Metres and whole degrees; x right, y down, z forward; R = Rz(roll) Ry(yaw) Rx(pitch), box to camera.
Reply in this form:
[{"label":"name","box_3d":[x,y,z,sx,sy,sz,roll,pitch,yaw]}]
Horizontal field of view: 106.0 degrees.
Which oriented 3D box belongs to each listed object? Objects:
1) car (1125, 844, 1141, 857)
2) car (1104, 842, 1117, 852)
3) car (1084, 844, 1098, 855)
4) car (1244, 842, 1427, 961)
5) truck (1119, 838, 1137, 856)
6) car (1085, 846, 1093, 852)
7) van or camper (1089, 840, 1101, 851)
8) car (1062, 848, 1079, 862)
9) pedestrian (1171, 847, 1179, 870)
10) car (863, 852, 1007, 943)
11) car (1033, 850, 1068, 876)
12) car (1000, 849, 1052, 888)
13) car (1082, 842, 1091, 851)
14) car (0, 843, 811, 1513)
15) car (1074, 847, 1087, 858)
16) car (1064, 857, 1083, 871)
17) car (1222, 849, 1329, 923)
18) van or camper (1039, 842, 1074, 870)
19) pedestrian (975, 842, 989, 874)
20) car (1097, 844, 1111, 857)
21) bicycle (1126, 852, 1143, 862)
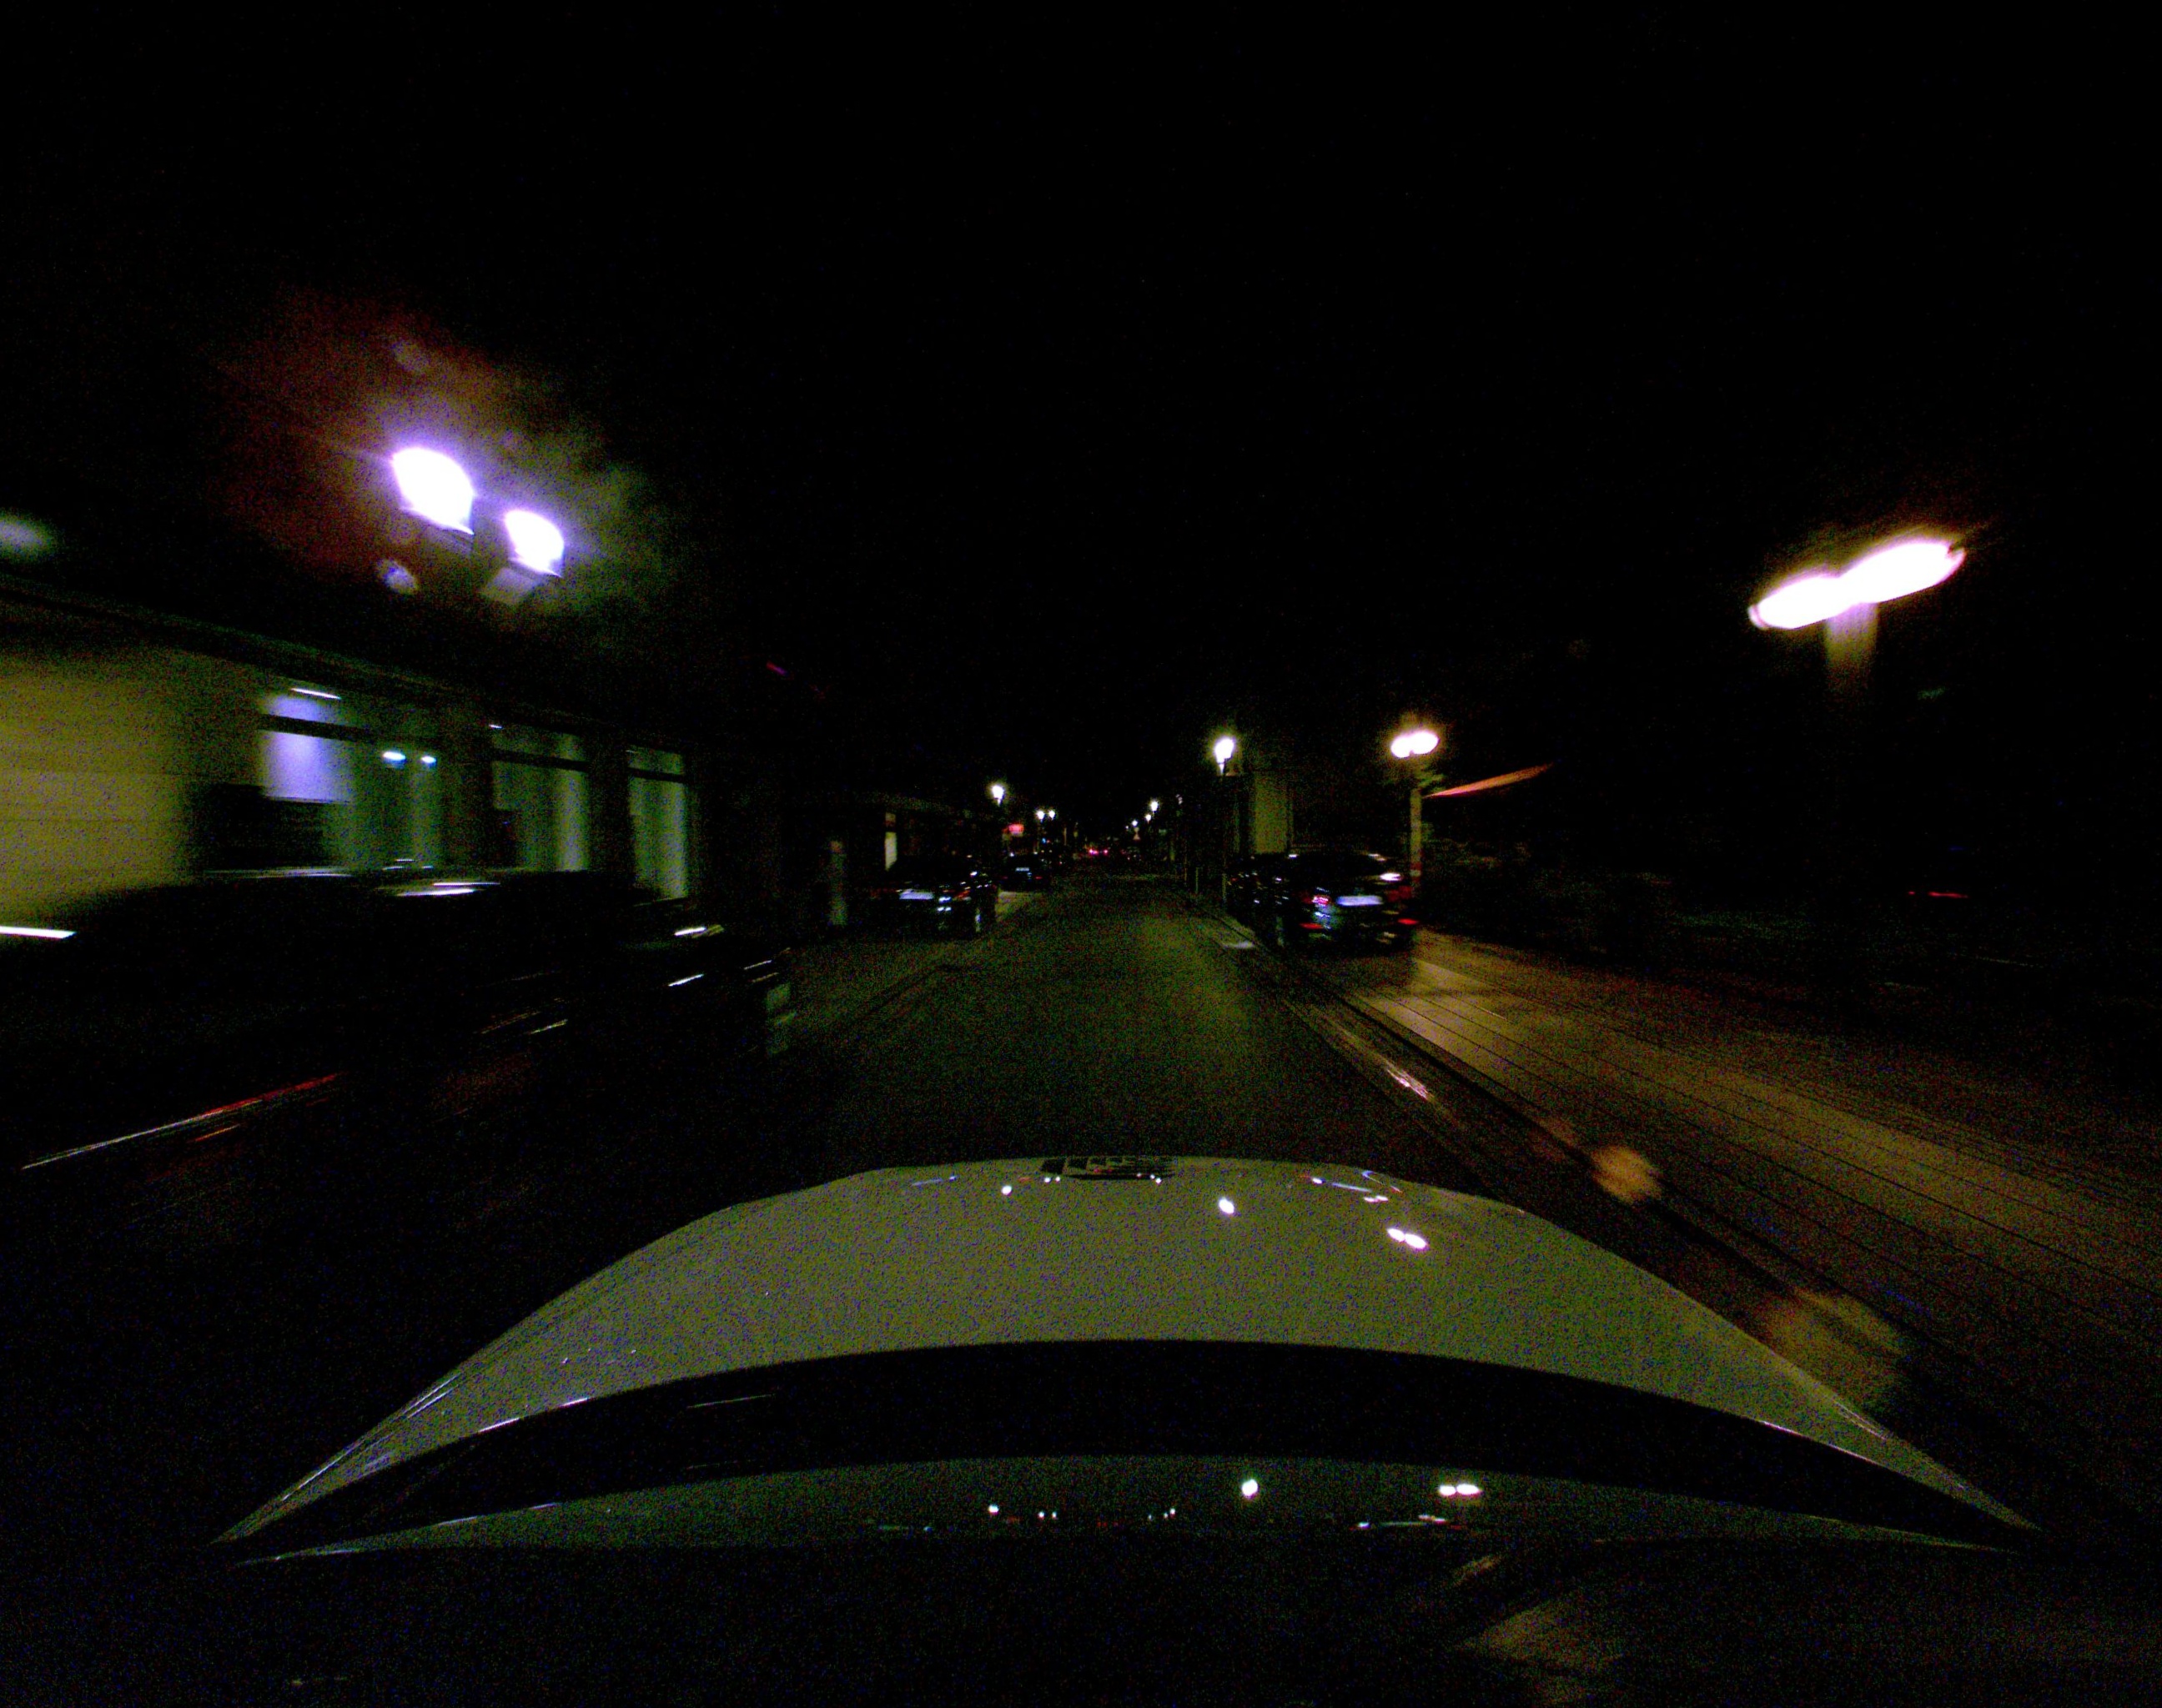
[{"label":"car","box_3d":[6.388,-0.452,100.035,1.782,1.491,4.061,-2,1,2]},{"label":"car","box_3d":[5.439,-1.341,151.171,1.812,1.828,4.340,-1,1,-5]},{"label":"car","box_3d":[1.680,-0.787,134.196,1.989,1.702,3.995,-1,1,-4]},{"label":"car","box_3d":[3.745,0.610,12.809,1.745,1.464,4.472,-3,0,5]},{"label":"truck","box_3d":[6.643,-1.003,115.565,2.328,2.312,5.781,-1,1,1]},{"label":"car","box_3d":[1.952,-1.213,190.214,1.528,1.418,3.840,-1,1,-4]},{"label":"van or camper","box_3d":[3.091,-1.919,177.340,2.105,2.317,4.254,-2,1,-6]},{"label":"car","box_3d":[-1.099,0.104,86.559,1.723,1.476,3.847,0,1,0]},{"label":"pedestrian","box_3d":[6.319,0.287,54.747,0.498,1.547,0.481,0,0,7]},{"label":"car","box_3d":[-2.626,0.706,15.774,1.838,1.464,4.625,1,0,1]},{"label":"car","box_3d":[-1.776,0.479,48.085,1.710,1.412,4.388,1,1,2]},{"label":"car","box_3d":[-2.228,0.563,33.914,1.791,1.478,4.322,1,0,1]},{"label":"car","box_3d":[1.234,-1.807,196.049,1.836,1.901,3.840,-1,1,-4]},{"label":"car","box_3d":[-3.009,0.702,4.029,1.894,1.470,4.523,0,0,-1]},{"label":"car","box_3d":[-0.084,-0.225,120.382,1.670,1.543,4.224,0,1,-5]},{"label":"car","box_3d":[-0.836,1.108,92.017,2.012,1.488,5.008,2,1,1]},{"label":"car","box_3d":[4.174,0.628,18.088,1.653,1.377,4.109,-3,0,5]},{"label":"van or camper","box_3d":[-1.767,0.100,60.371,1.836,1.942,5.163,0,1,7]},{"label":"pedestrian","box_3d":[-5.537,0.227,45.761,0.619,1.745,1.023,0,0,2]},{"label":"car","box_3d":[3.293,-0.489,118.778,1.987,1.823,4.000,-1,1,0]},{"label":"bicycle","box_3d":[5.801,0.304,88.562,1.749,1.062,0.346,-1,0,-2]}]
